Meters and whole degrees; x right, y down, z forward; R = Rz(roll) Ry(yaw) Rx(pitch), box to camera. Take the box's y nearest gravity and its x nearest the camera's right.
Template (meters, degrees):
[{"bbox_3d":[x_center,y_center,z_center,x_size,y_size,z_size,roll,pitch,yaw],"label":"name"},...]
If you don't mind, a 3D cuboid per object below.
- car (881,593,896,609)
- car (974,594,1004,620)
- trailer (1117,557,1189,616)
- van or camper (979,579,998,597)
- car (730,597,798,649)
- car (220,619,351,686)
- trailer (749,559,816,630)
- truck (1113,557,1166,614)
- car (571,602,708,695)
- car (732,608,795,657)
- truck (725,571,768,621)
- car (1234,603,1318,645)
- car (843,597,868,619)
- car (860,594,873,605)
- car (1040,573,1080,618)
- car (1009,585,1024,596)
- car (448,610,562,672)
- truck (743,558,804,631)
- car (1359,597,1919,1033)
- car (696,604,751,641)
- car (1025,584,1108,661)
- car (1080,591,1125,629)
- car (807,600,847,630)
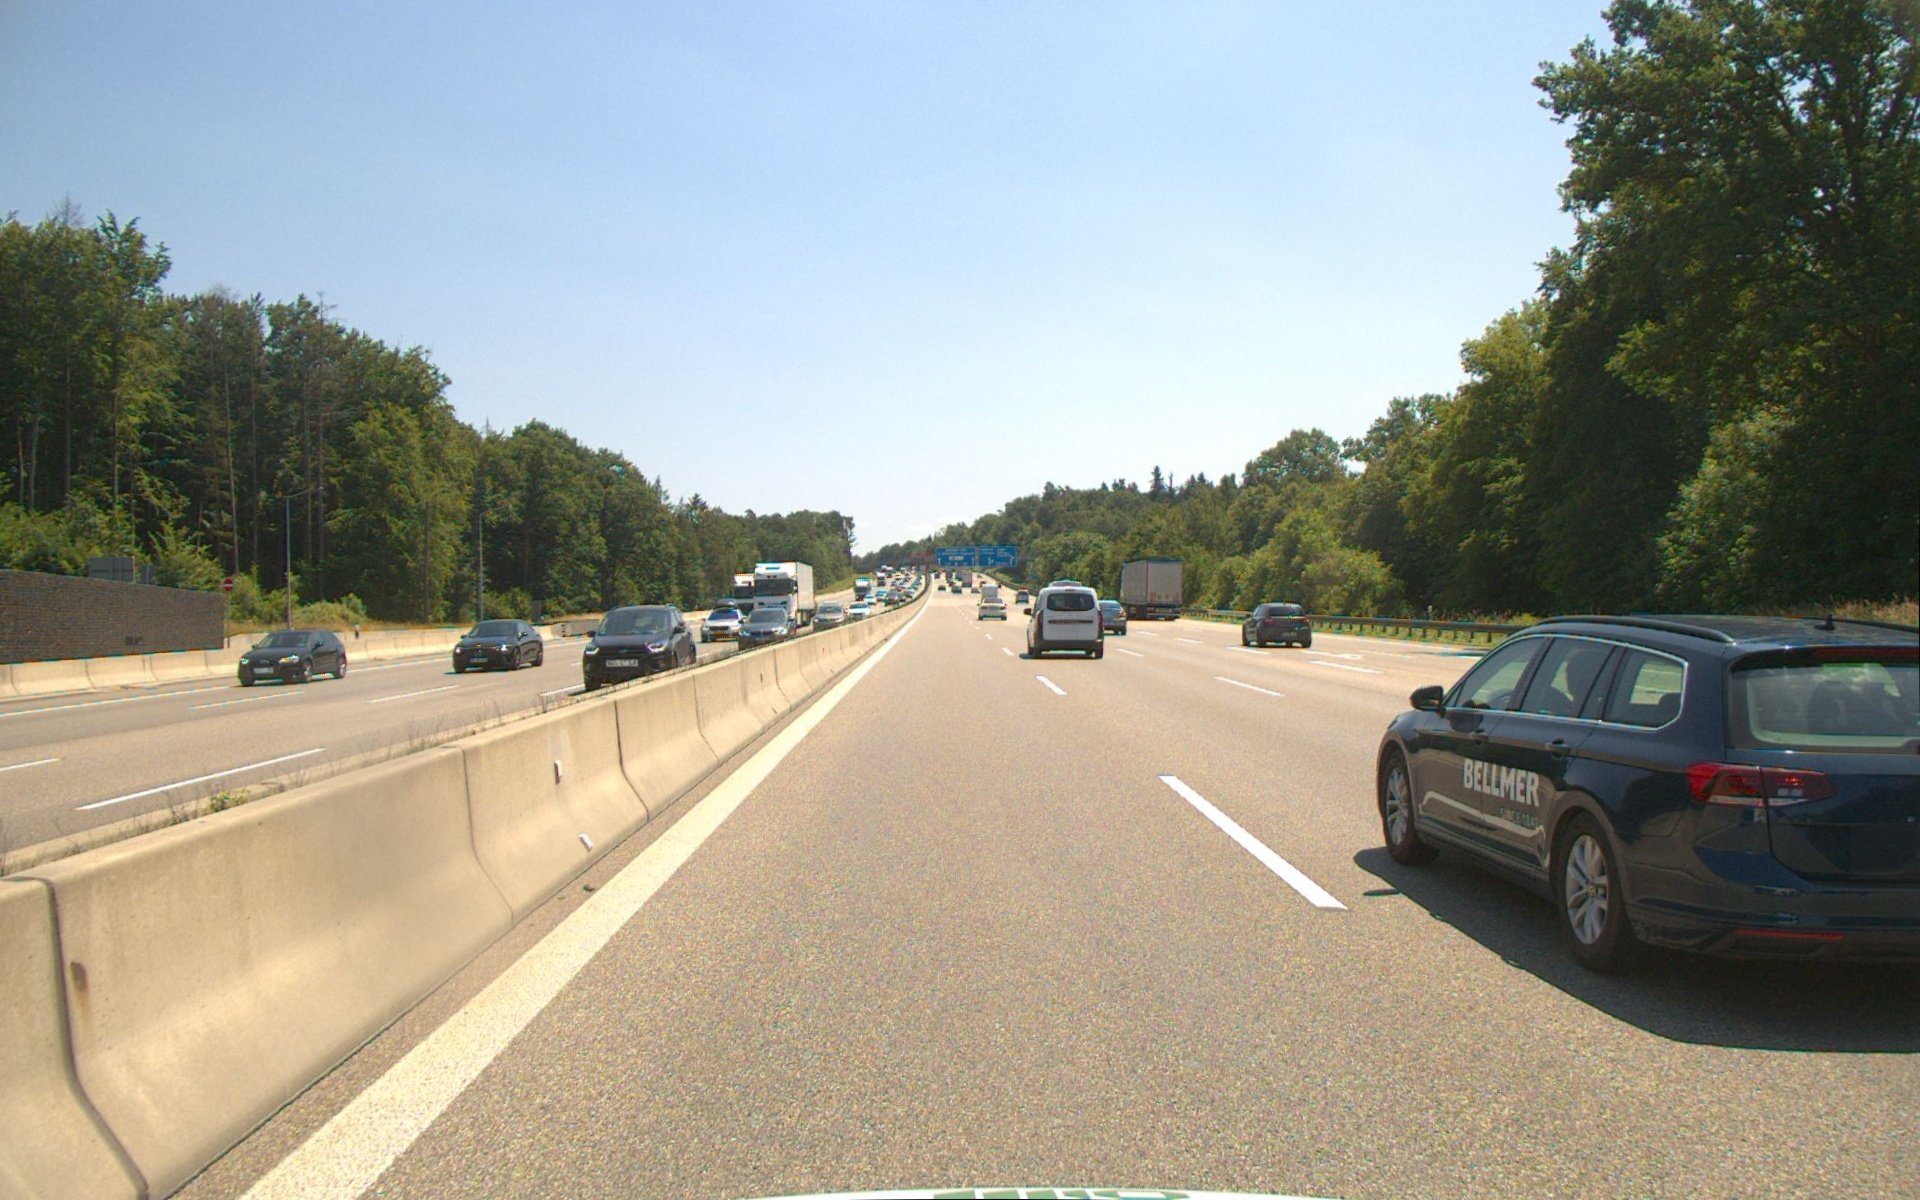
[{"bbox_3d":[-9.521,0.128,220.888,1.859,1.987,5.655,-2,0,-1],"label":"car"},{"bbox_3d":[1.923,0.474,110.734,1.805,1.657,4.553,-2,0,0],"label":"car"},{"bbox_3d":[13.783,-1.033,119.205,3.221,3.999,13.888,1,1,-1],"label":"trailer"},{"bbox_3d":[4.206,-1.820,247.262,2.591,2.583,6.501,-1,0,-1],"label":"van or camper"},{"bbox_3d":[-6.943,0.783,58.995,1.953,1.692,4.969,-2,0,-2],"label":"car"},{"bbox_3d":[-18.389,1.397,45.281,1.953,1.649,4.212,-1,0,-2],"label":"car"},{"bbox_3d":[-11.550,-0.380,108.923,2.962,4.299,14.464,-2,0,-1],"label":"trailer"},{"bbox_3d":[13.603,-1.127,125.752,3.188,4.178,5.987,0,1,-1],"label":"truck"},{"bbox_3d":[-6.639,0.940,34.871,1.954,1.692,5.751,-2,0,-3],"label":"car"},{"bbox_3d":[-6.951,1.124,58.833,1.833,1.574,4.589,-1,0,-2],"label":"car"},{"bbox_3d":[-19.226,-0.332,149.514,2.778,4.271,10.592,-1,0,-2],"label":"truck"},{"bbox_3d":[10.314,0.768,54.219,1.637,1.296,4.286,0,0,-4],"label":"car"},{"bbox_3d":[-7.448,0.565,118.257,1.712,1.483,4.154,-1,0,-3],"label":"car"},{"bbox_3d":[-13.306,-0.110,235.312,1.725,1.489,4.838,-1,0,-1],"label":"car"},{"bbox_3d":[6.288,-0.322,104.528,2.100,2.698,5.709,0,1,-1],"label":"car"},{"bbox_3d":[7.757,-1.327,226.211,1.798,1.361,3.642,-2,0,-1],"label":"car"},{"bbox_3d":[-13.567,1.184,49.708,1.953,1.649,5.753,-1,0,-2],"label":"car"},{"bbox_3d":[-11.409,-0.330,101.837,2.985,4.209,6.947,-2,0,-1],"label":"truck"},{"bbox_3d":[3.416,0.737,8.155,1.694,1.472,4.961,0,0,0],"label":"car"},{"bbox_3d":[-10.876,1.002,76.328,1.954,1.513,5.016,-3,0,-2],"label":"car"},{"bbox_3d":[2.745,0.548,43.502,1.822,1.857,4.612,-2,0,0],"label":"car"},{"bbox_3d":[6.059,0.431,70.505,1.473,1.526,3.649,-2,0,-1],"label":"car"},{"bbox_3d":[-7.192,0.772,89.967,1.953,1.513,5.133,-2,0,-2],"label":"car"}]
